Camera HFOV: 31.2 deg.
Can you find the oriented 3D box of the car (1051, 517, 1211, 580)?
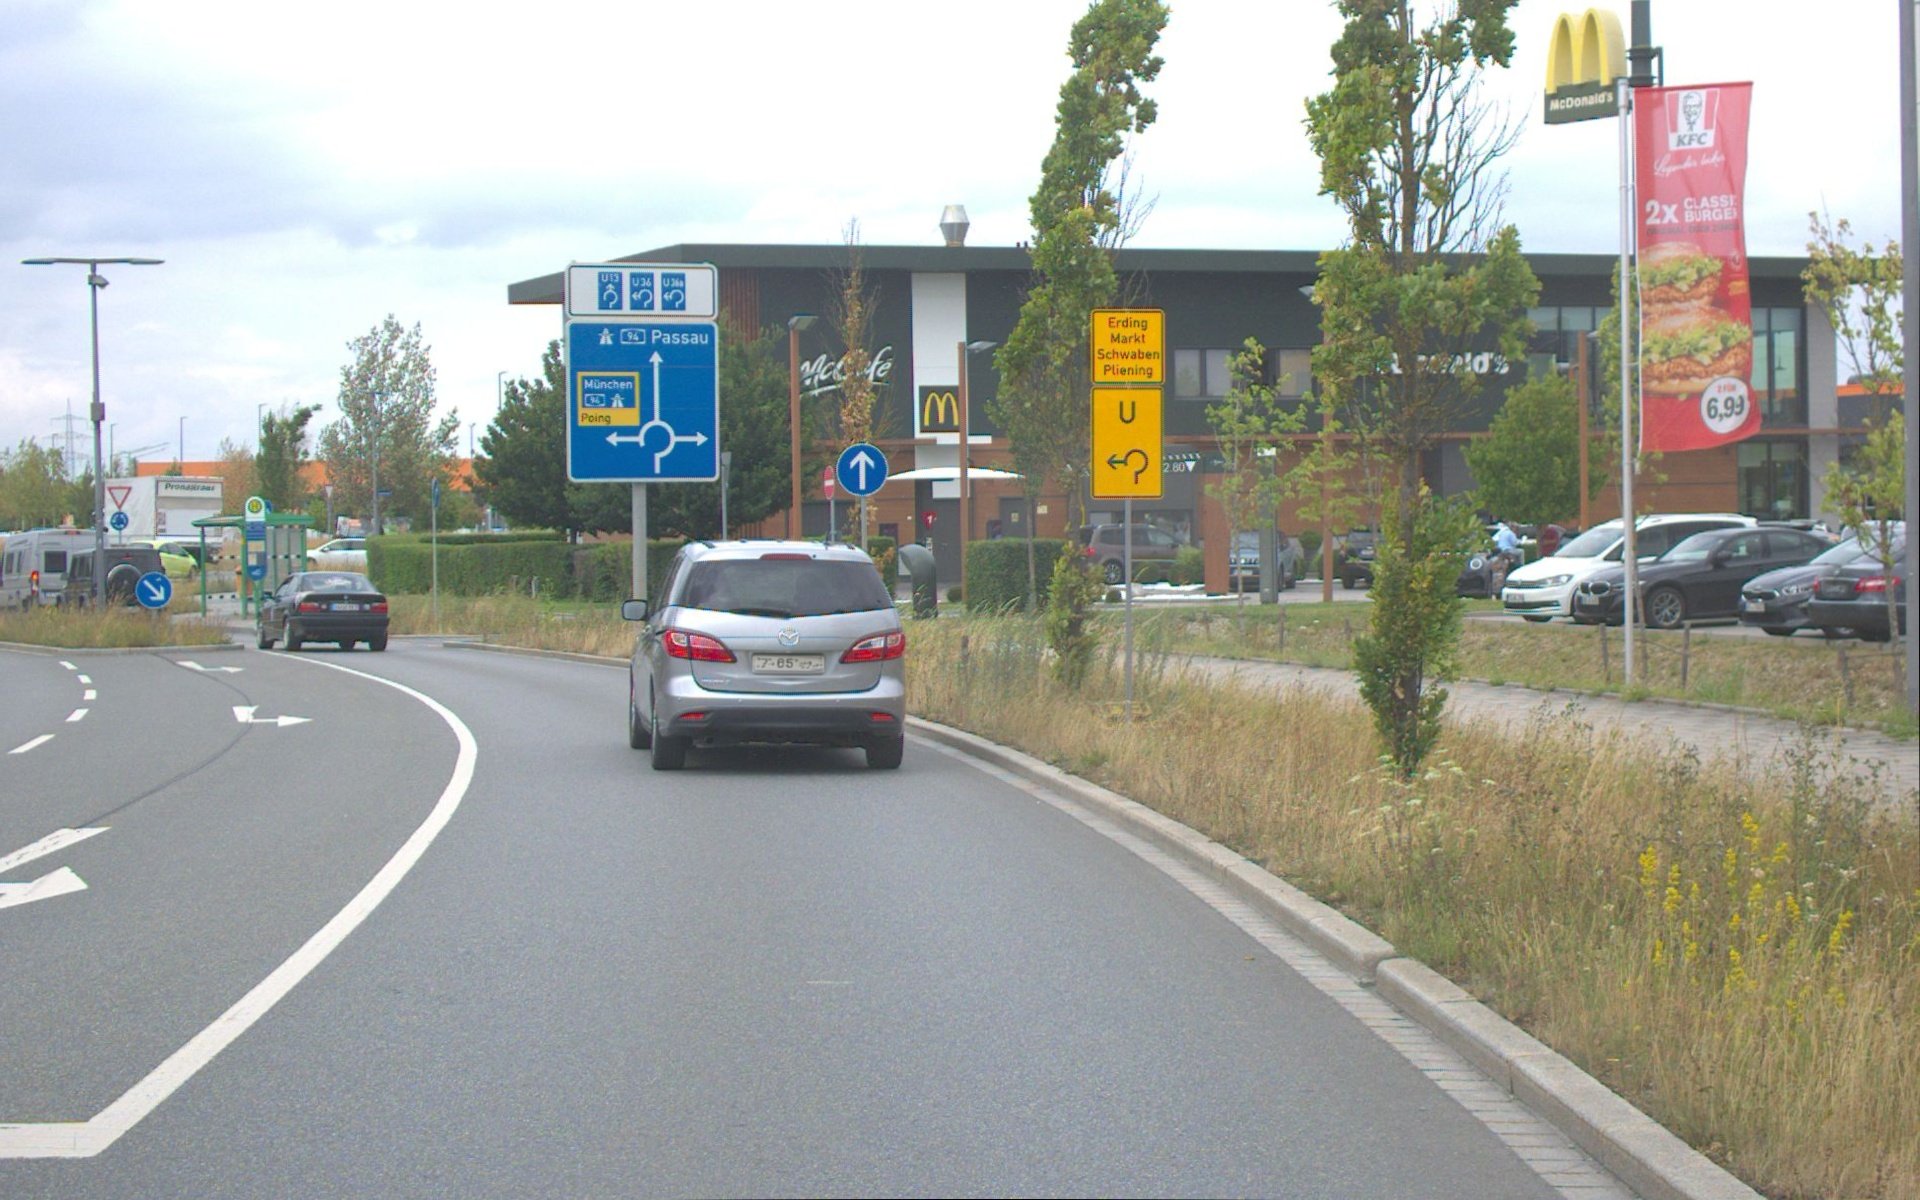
[{"bbox_3d":[4.781,-1.449,95.959,3.986,1.711,2.000,-1,1,-24],"label":"car"}]

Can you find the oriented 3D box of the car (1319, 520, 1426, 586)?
[{"bbox_3d":[10.913,-1.247,90.754,2.117,1.711,4.227,0,1,17],"label":"car"}]

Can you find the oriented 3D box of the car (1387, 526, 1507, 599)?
[{"bbox_3d":[9.370,-0.737,65.993,1.812,1.308,3.847,-1,2,15],"label":"car"}]

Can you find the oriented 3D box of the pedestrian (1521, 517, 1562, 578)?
[{"bbox_3d":[13.886,-1.252,82.084,0.769,1.434,0.622,0,1,35],"label":"pedestrian"}]

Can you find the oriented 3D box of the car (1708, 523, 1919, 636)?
[{"bbox_3d":[12.666,-0.313,47.600,4.083,1.433,1.943,-2,2,-19],"label":"car"}]

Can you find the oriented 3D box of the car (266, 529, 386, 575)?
[{"bbox_3d":[-25.308,-1.914,137.219,4.601,1.751,2.001,-1,1,-14],"label":"car"}]

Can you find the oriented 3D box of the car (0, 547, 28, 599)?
[{"bbox_3d":[-29.050,-0.796,102.853,1.993,1.510,4.001,-1,1,-11],"label":"car"}]

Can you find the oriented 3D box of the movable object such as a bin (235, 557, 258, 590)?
[{"bbox_3d":[-17.332,-0.655,83.525,0.456,0.795,0.380,-1,1,-25],"label":"movable object such as a bin"}]

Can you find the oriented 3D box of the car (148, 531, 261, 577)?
[{"bbox_3d":[-26.573,-1.628,121.042,1.996,1.510,3.996,-1,1,22],"label":"car"}]

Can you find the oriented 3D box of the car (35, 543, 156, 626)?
[{"bbox_3d":[-19.903,-0.378,79.041,2.058,1.819,4.787,-1,1,-22],"label":"car"}]

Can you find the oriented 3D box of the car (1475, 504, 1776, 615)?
[{"bbox_3d":[10.600,-0.665,54.782,4.346,1.634,1.938,-2,2,-22],"label":"car"}]

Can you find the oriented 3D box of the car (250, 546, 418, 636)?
[{"bbox_3d":[-10.639,-0.180,58.229,1.844,1.413,4.225,-2,2,-24],"label":"car"}]

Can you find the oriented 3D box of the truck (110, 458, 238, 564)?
[{"bbox_3d":[-30.105,-3.348,131.411,3.132,3.893,9.338,-2,1,-23],"label":"truck"}]

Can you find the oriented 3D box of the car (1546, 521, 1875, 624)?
[{"bbox_3d":[11.427,-0.442,52.400,4.466,1.431,2.074,-2,2,-20],"label":"car"}]

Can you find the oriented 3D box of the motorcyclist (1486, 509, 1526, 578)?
[{"bbox_3d":[14.457,-1.498,91.033,0.961,1.826,0.845,0,1,14],"label":"motorcyclist"}]

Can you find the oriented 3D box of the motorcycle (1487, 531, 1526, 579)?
[{"bbox_3d":[14.465,-1.192,91.024,0.857,1.240,1.965,0,1,14],"label":"motorcycle"}]

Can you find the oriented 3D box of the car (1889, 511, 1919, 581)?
[{"bbox_3d":[24.700,-1.330,82.173,4.721,1.651,1.998,-1,1,17],"label":"car"}]

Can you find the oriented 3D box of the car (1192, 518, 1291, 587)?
[{"bbox_3d":[7.277,-1.229,88.534,1.995,1.711,3.998,0,1,13],"label":"car"}]

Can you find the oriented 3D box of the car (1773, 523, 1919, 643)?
[{"bbox_3d":[13.106,-0.272,44.653,4.516,1.464,2.033,-2,2,-17],"label":"car"}]

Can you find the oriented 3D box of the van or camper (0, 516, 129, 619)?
[{"bbox_3d":[-22.749,-0.845,86.991,2.302,2.497,5.207,-1,1,-25],"label":"van or camper"}]

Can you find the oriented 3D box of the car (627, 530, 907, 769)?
[{"bbox_3d":[-1.469,0.299,24.895,1.729,1.594,3.808,0,1,-8],"label":"car"}]
